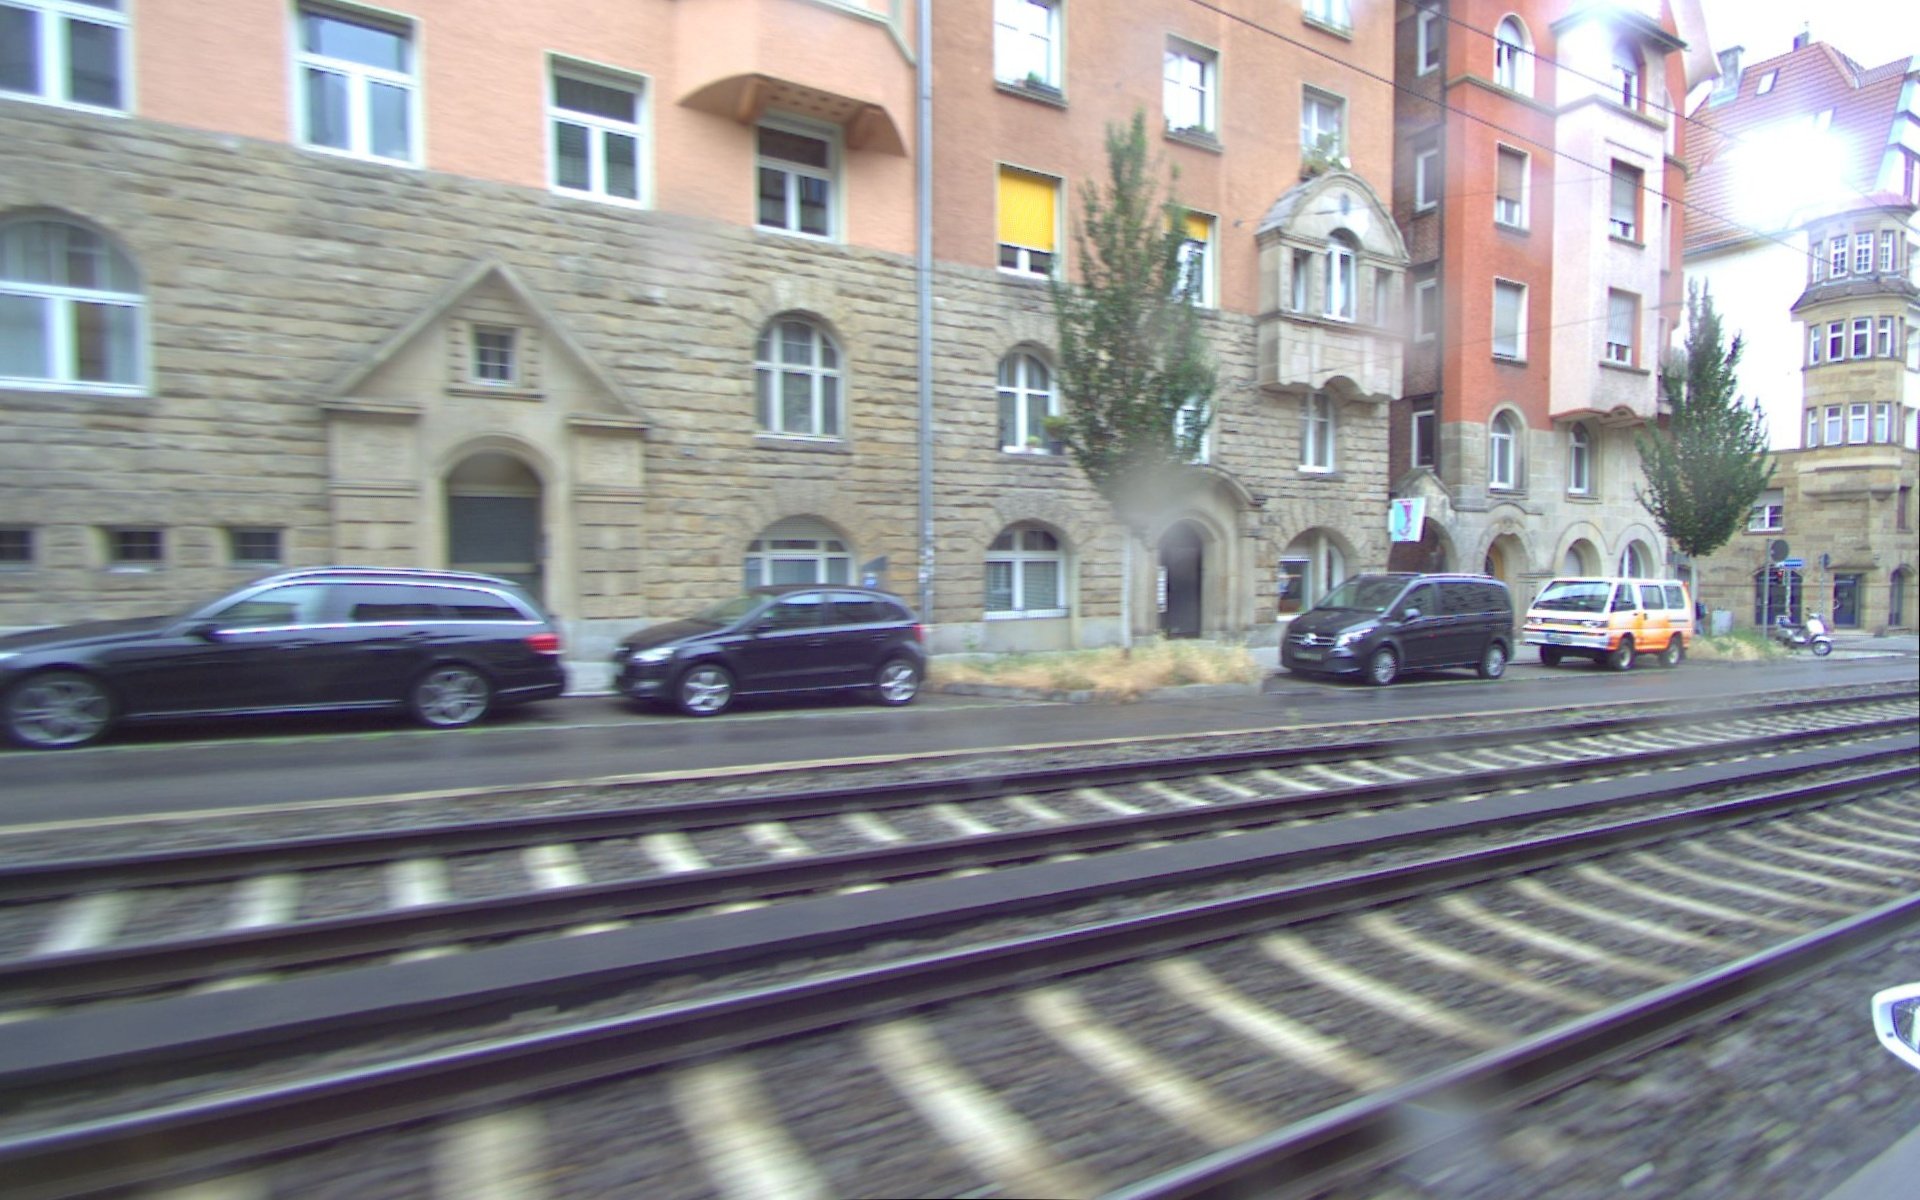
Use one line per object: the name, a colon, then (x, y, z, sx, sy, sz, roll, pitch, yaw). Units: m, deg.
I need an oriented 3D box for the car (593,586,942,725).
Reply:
car: (-2.279, 0.584, 12.226, 3.843, 1.417, 1.632, 1, 2, -34)

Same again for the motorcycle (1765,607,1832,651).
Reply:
motorcycle: (23.264, 0.784, 27.901, 0.608, 1.149, 1.441, 1, 1, -1)

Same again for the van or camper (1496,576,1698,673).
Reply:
van or camper: (14.195, 0.504, 22.324, 4.647, 1.927, 1.982, 1, 2, -33)

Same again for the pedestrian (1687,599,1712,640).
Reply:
pedestrian: (32.263, 0.863, 43.819, 0.635, 1.756, 0.604, 1, 1, -29)

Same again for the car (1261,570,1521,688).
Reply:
car: (7.945, 0.487, 18.442, 4.642, 1.927, 1.984, 1, 1, -30)

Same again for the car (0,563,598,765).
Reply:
car: (-6.278, 0.500, 9.758, 4.916, 1.530, 1.983, 1, 3, -31)

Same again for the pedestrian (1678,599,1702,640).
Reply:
pedestrian: (31.471, 0.845, 43.306, 0.635, 1.756, 0.604, 1, 1, -29)
